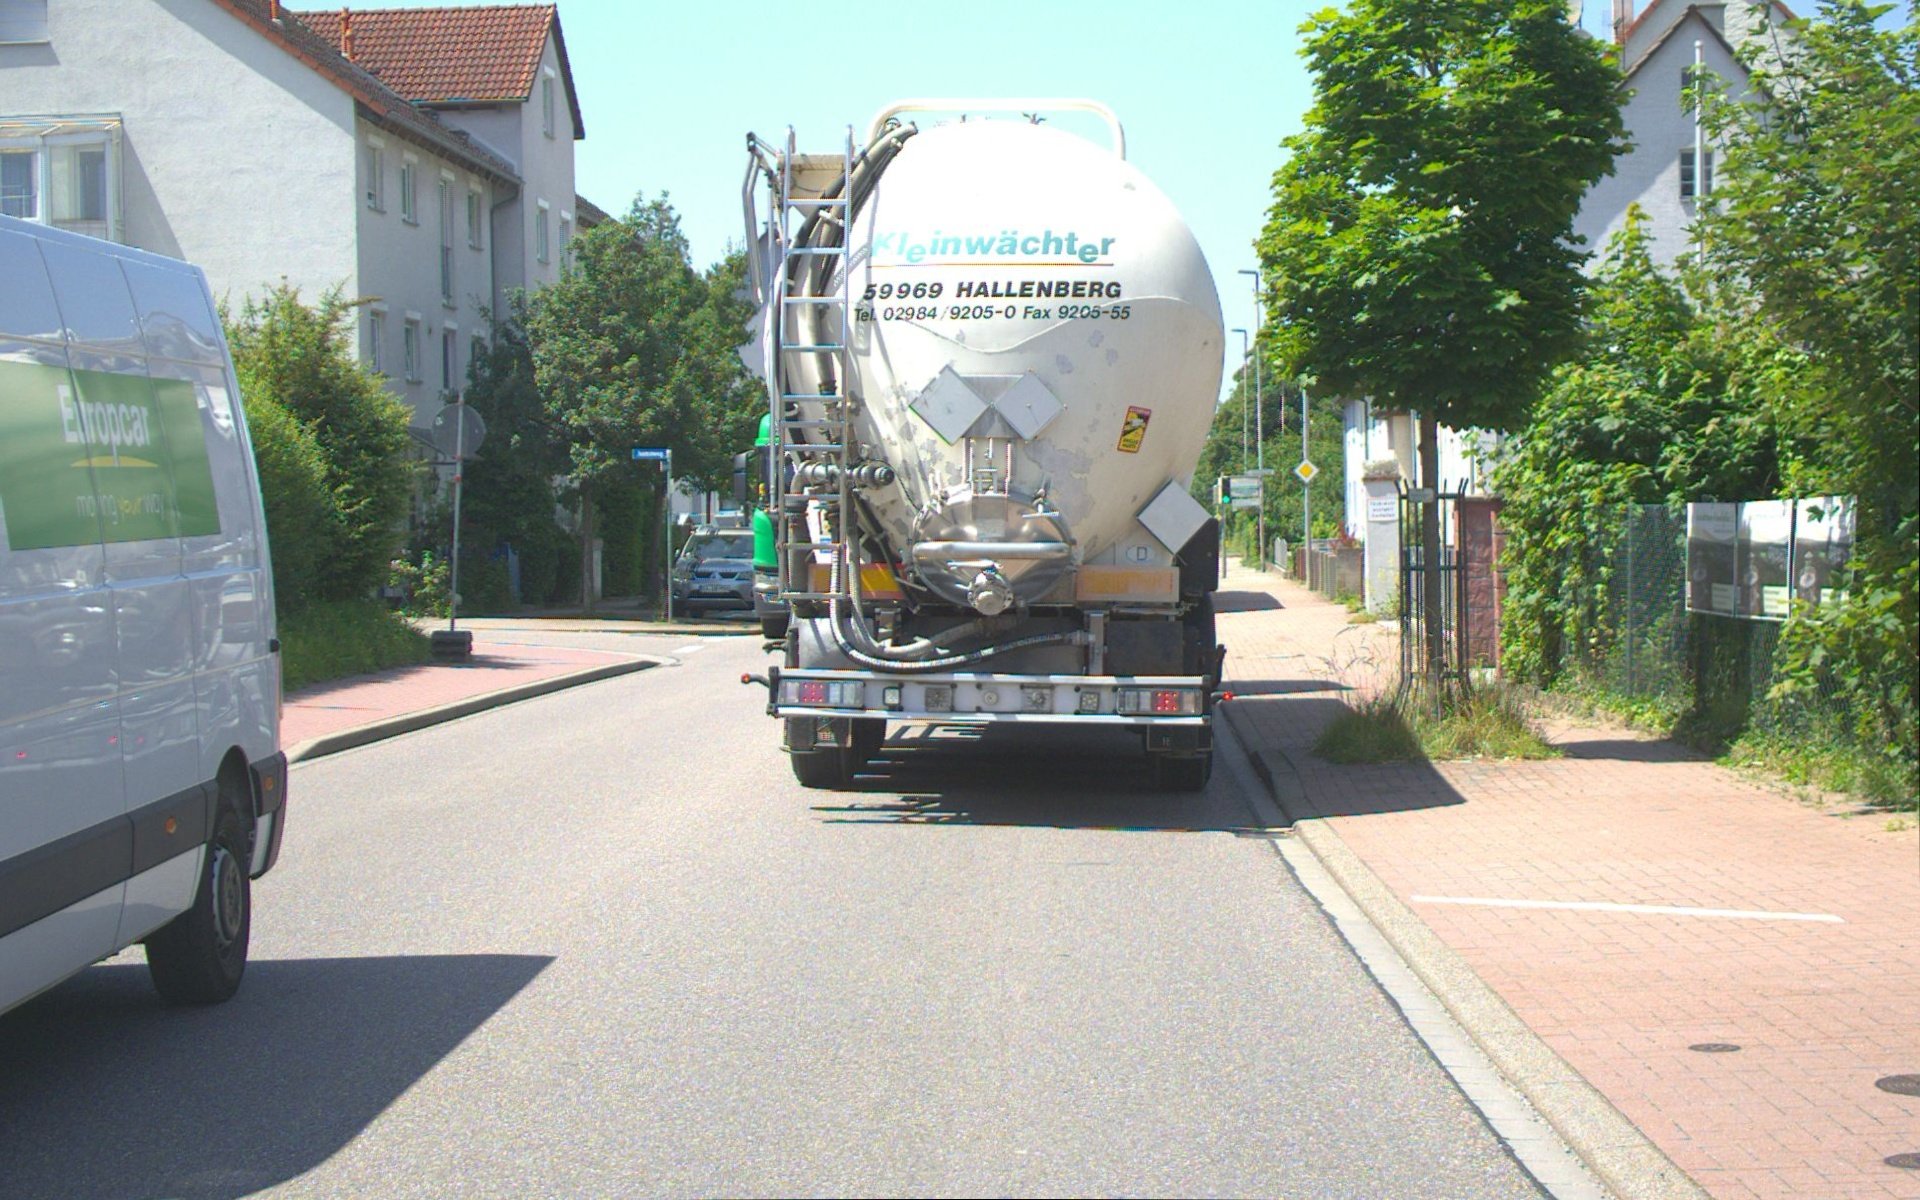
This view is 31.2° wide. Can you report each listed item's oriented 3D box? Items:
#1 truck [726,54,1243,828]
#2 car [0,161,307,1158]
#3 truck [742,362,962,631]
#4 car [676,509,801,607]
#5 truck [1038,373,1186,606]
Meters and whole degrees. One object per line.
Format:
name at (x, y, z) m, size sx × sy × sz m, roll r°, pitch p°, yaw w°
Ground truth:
truck at (0.168, -0.945, 22.715) m, size 2.641 × 4.002 × 9.562 m, roll 1°, pitch 1°, yaw 1°
car at (-3.380, 0.149, 9.020) m, size 2.029 × 2.452 × 6.068 m, roll -2°, pitch 1°, yaw 1°
truck at (-1.523, -1.589, 53.578) m, size 2.567 × 3.687 × 10.078 m, roll -2°, pitch 1°, yaw 2°
car at (-3.901, -0.779, 61.145) m, size 1.706 × 1.681 × 4.526 m, roll 0°, pitch 1°, yaw 3°
truck at (3.033, -2.158, 68.548) m, size 2.641 × 4.210 × 12.093 m, roll -1°, pitch 1°, yaw 3°
